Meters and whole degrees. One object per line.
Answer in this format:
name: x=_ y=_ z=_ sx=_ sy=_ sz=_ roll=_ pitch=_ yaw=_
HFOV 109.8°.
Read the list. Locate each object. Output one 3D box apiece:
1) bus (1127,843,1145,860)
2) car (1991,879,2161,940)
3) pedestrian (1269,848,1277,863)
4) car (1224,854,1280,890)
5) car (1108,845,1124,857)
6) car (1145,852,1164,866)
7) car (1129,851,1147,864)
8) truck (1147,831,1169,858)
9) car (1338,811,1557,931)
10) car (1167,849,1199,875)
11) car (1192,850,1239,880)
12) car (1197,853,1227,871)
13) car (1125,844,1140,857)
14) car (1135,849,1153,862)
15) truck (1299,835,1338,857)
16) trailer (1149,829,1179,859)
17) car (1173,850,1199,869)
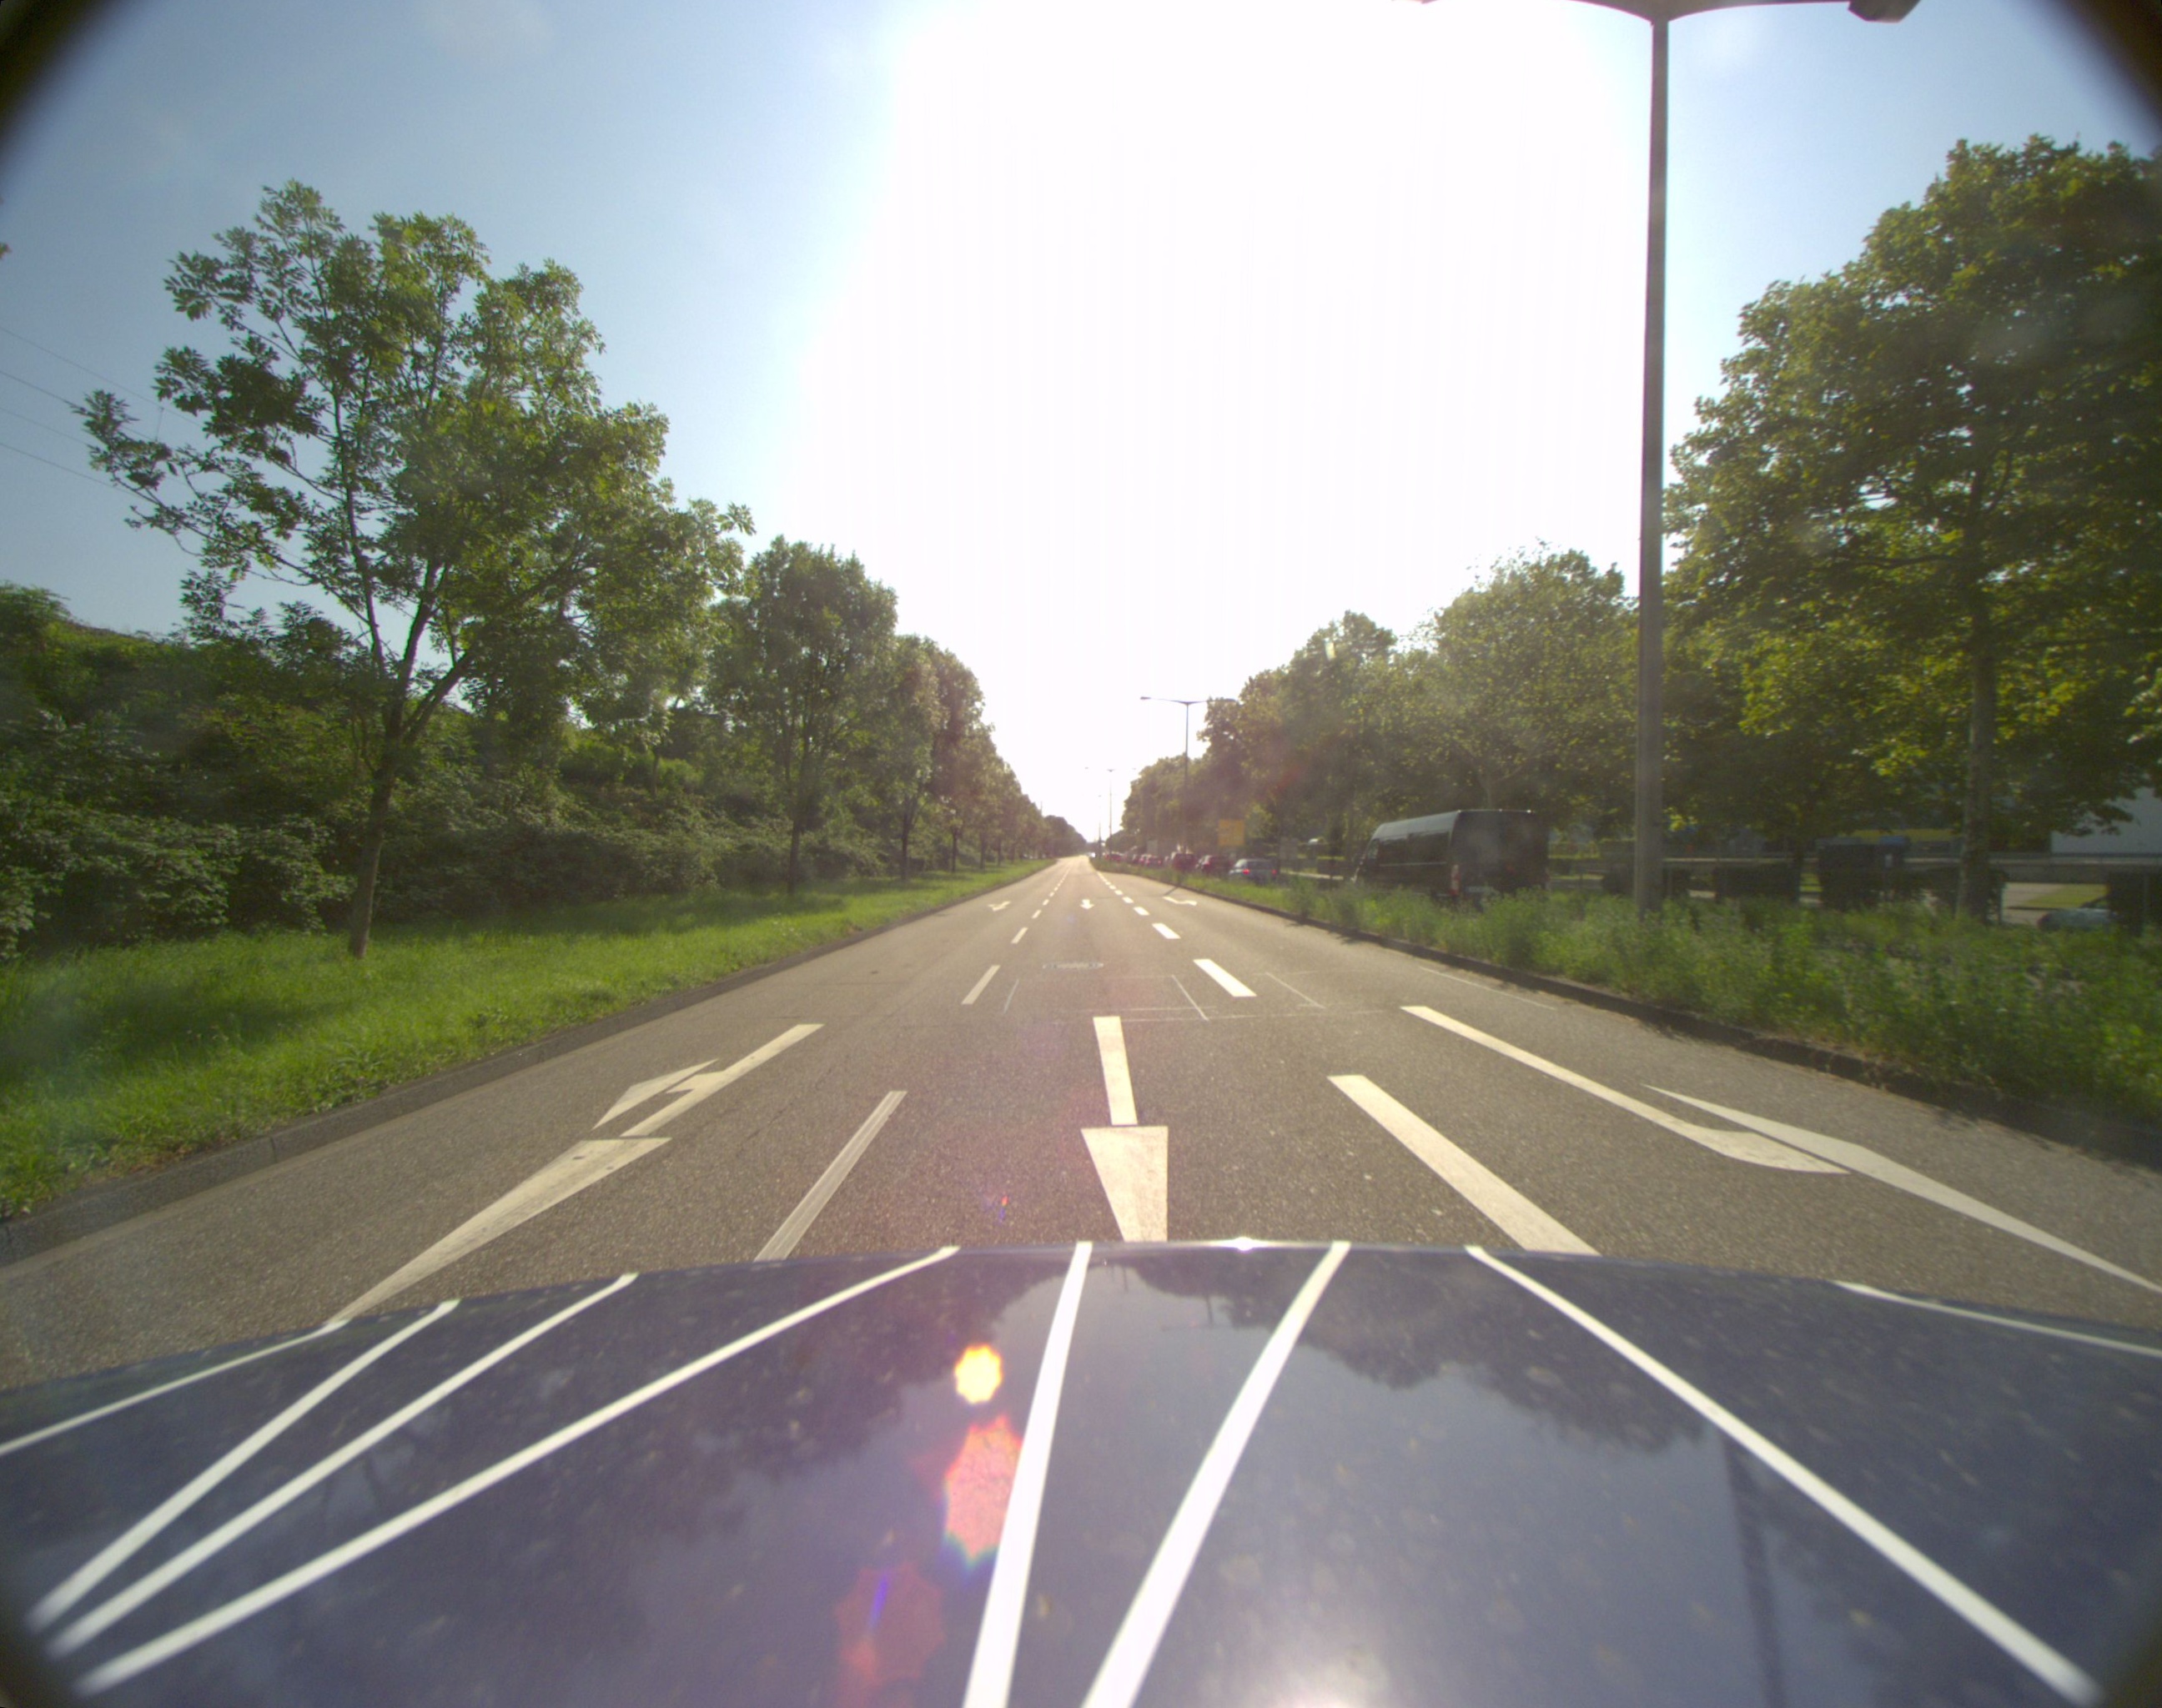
bus: x=10.342 y=-0.436 z=144.284 sx=2.597 sy=3.061 sz=12.311 roll=-1 pitch=0 yaw=1
car: x=24.881 y=1.297 z=18.278 sx=3.998 sy=1.302 sz=1.820 roll=0 pitch=0 yaw=-4
pedestrian: x=21.477 y=0.115 z=84.867 sx=0.618 sy=1.643 sz=0.933 roll=-1 pitch=1 yaw=0
car: x=8.071 y=0.808 z=36.196 sx=1.777 sy=1.565 sz=4.000 roll=-1 pitch=0 yaw=0
car: x=5.341 y=-0.437 z=117.682 sx=1.999 sy=1.749 sz=4.475 roll=2 pitch=0 yaw=-3
car: x=8.041 y=0.492 z=83.805 sx=1.680 sy=1.477 sz=3.492 roll=-1 pitch=0 yaw=-1
car: x=7.835 y=0.432 z=104.115 sx=1.999 sy=1.749 sz=4.306 roll=2 pitch=0 yaw=-1
truck: x=11.452 y=-1.374 z=113.430 sx=2.614 sy=3.797 sz=5.890 roll=1 pitch=0 yaw=0
car: x=8.278 y=0.325 z=18.070 sx=2.117 sy=2.319 sz=6.281 roll=-1 pitch=0 yaw=0
car: x=8.380 y=0.654 z=62.808 sx=1.937 sy=2.016 sz=4.566 roll=0 pitch=0 yaw=-1
car: x=8.243 y=0.632 z=46.955 sx=1.999 sy=1.696 sz=4.503 roll=-1 pitch=0 yaw=-2
car: x=11.348 y=0.663 z=66.098 sx=1.795 sy=1.473 sz=3.999 roll=0 pitch=0 yaw=-1
car: x=8.242 y=-0.546 z=121.110 sx=1.999 sy=1.942 sz=5.035 roll=0 pitch=0 yaw=0
car: x=7.701 y=0.178 z=93.251 sx=1.884 sy=1.584 sz=4.108 roll=0 pitch=0 yaw=0
truck: x=33.092 y=-1.127 z=105.888 sx=5.916 sy=2.844 sz=2.233 roll=-1 pitch=1 yaw=-38
trailer: x=11.435 y=-1.351 z=106.001 sx=2.640 sy=3.799 sz=13.810 roll=1 pitch=0 yaw=0
car: x=10.965 y=0.578 z=79.908 sx=1.989 sy=1.848 sz=4.969 roll=1 pitch=0 yaw=0
